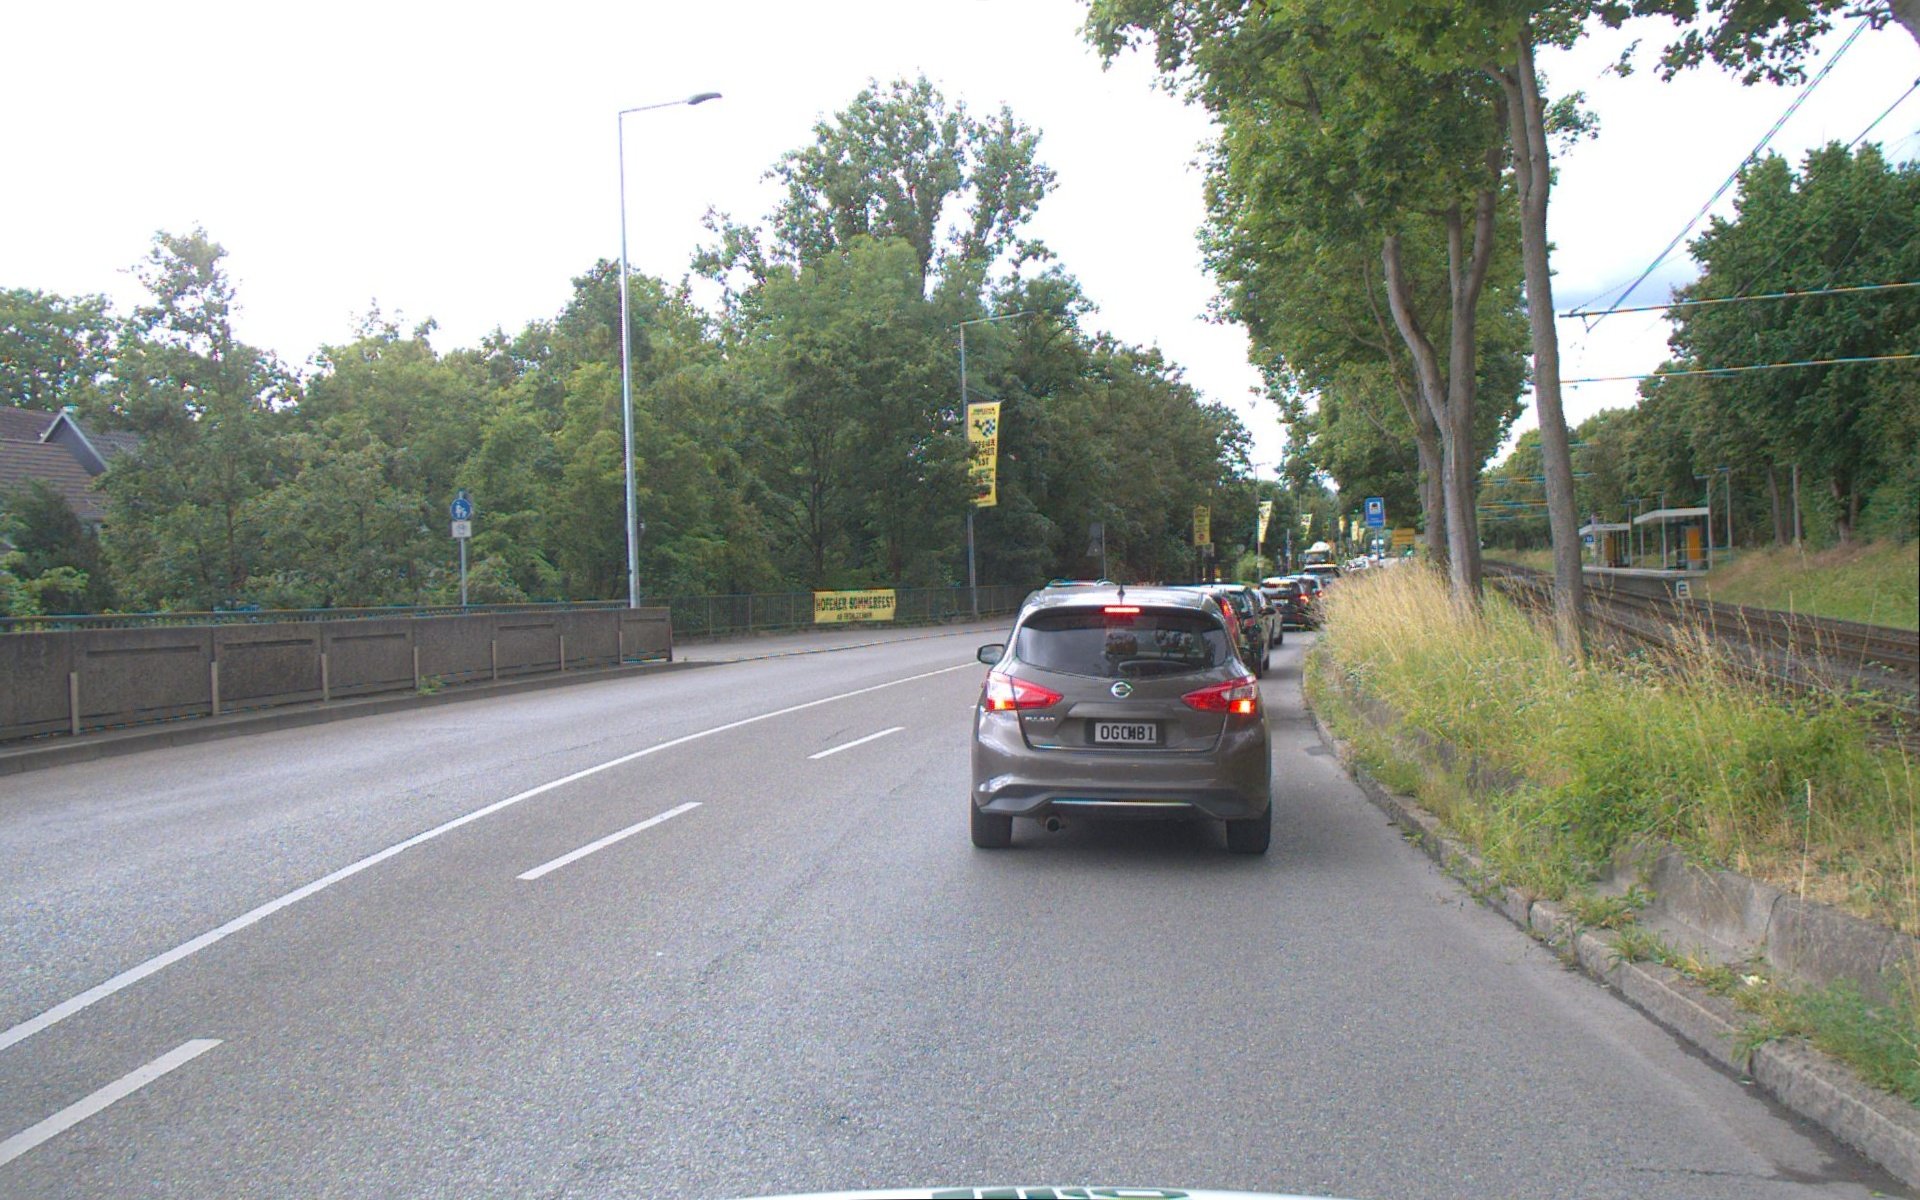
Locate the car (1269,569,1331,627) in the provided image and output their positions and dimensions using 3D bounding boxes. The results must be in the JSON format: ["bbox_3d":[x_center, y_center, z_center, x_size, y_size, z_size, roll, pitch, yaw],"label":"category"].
[{"bbox_3d":[10.919,-0.027,53.010,1.682,1.723,4.003,-2,-2,14],"label":"car"}]

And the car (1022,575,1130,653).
[{"bbox_3d":[2.563,0.252,35.551,1.812,1.512,4.425,-1,1,10],"label":"car"}]

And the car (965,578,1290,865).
[{"bbox_3d":[1.145,0.659,10.898,1.737,1.520,4.003,0,0,7],"label":"car"}]

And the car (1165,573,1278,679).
[{"bbox_3d":[4.382,0.398,27.304,1.544,1.565,4.003,-2,0,13],"label":"car"}]

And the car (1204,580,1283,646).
[{"bbox_3d":[6.476,0.274,37.523,1.468,1.388,3.590,-2,0,14],"label":"car"}]

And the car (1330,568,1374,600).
[{"bbox_3d":[18.849,-0.770,79.488,1.851,1.470,3.809,-1,0,16],"label":"car"}]

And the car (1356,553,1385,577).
[{"bbox_3d":[29.957,-2.531,120.756,1.851,1.682,4.003,-1,0,16],"label":"car"}]

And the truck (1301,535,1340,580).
[{"bbox_3d":[33.102,-3.824,151.433,2.599,4.007,10.117,0,1,17],"label":"truck"}]

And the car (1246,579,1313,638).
[{"bbox_3d":[9.052,0.226,46.654,1.766,1.567,4.003,0,0,12],"label":"car"}]

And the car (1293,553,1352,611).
[{"bbox_3d":[13.548,-0.674,61.652,1.851,2.049,4.003,-1,0,16],"label":"car"}]

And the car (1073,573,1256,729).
[{"bbox_3d":[2.421,0.545,19.017,1.852,1.601,4.003,-1,-1,9],"label":"car"}]
